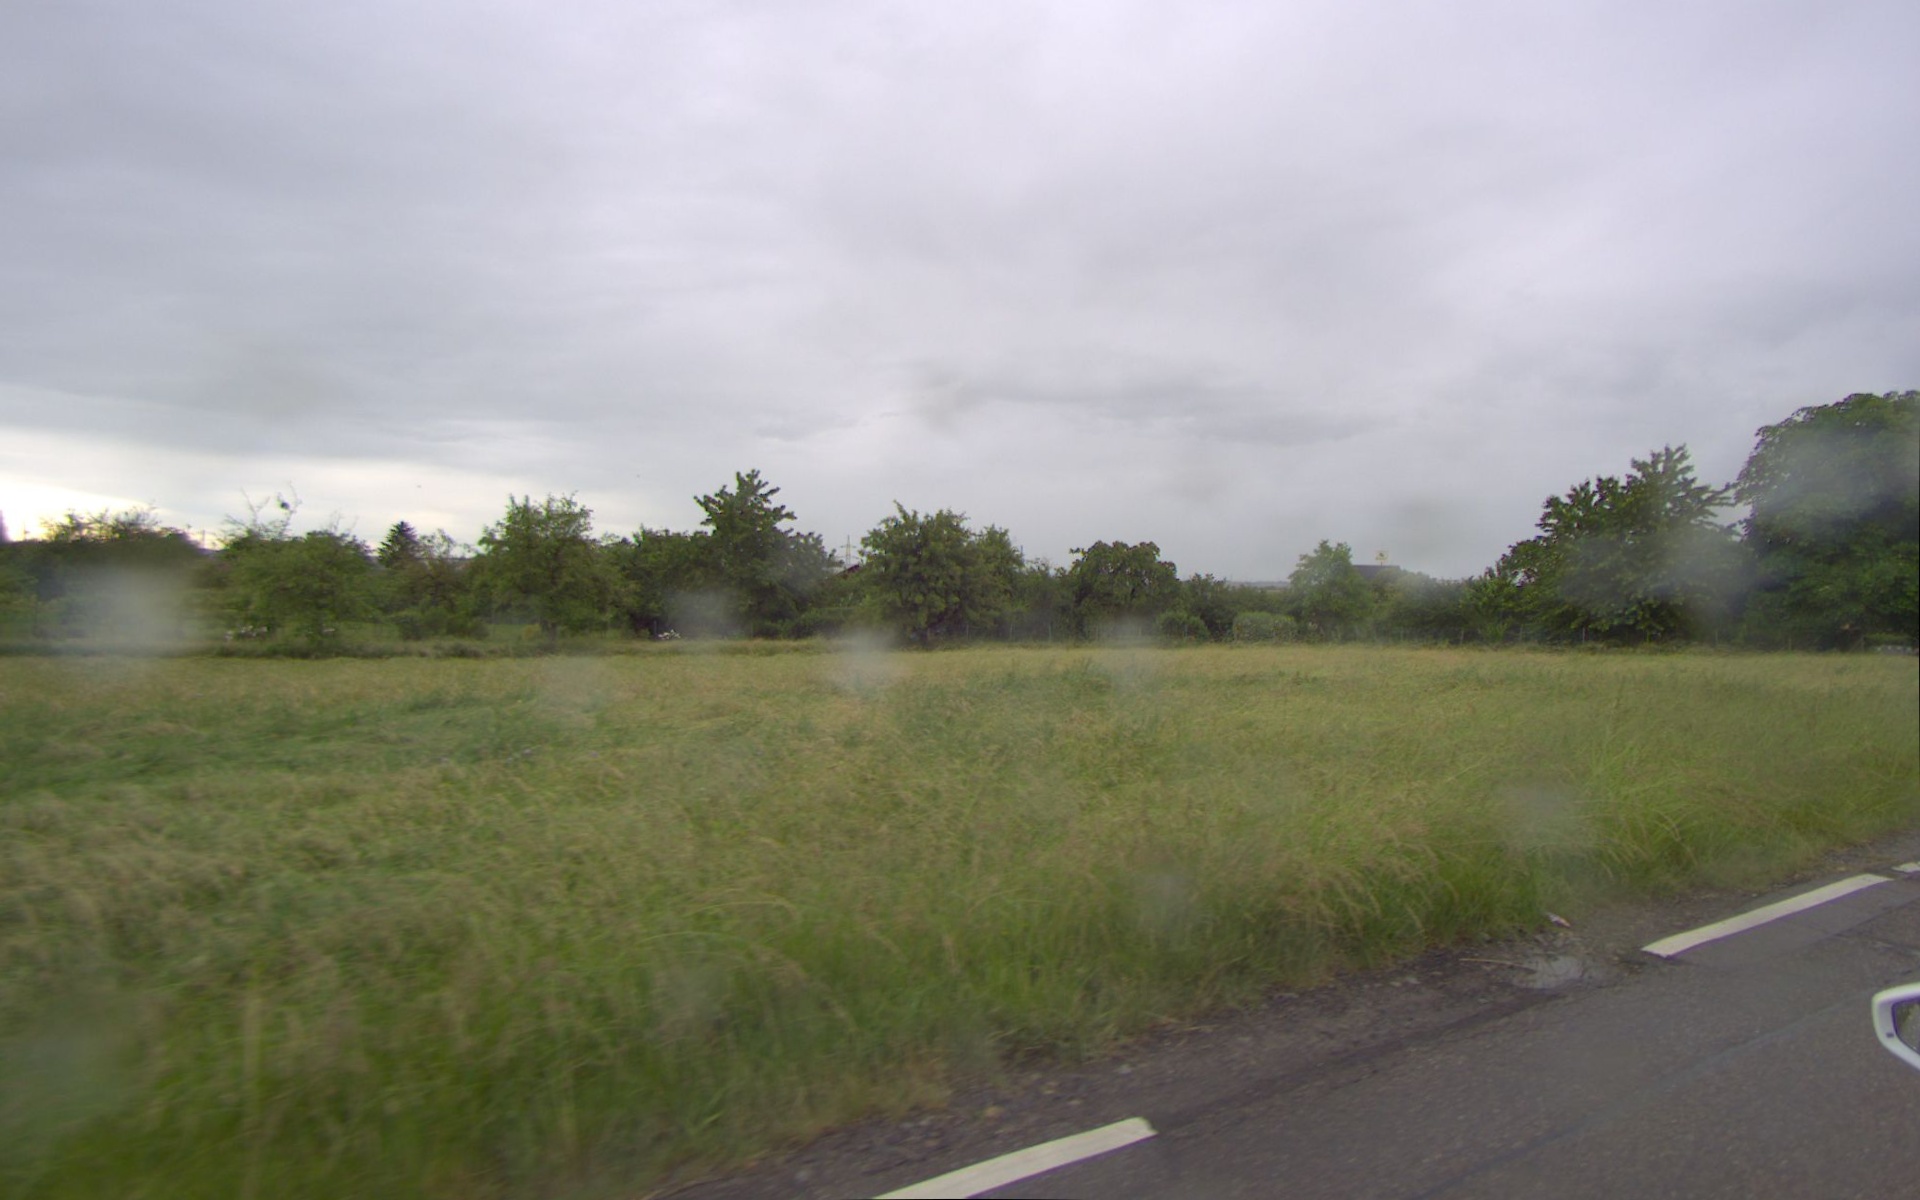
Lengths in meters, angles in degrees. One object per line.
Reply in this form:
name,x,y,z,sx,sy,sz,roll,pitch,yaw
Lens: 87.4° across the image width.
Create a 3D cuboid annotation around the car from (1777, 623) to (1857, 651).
car,51.432,2.223,60.366,1.580,1.522,3.726,3,-2,-2
